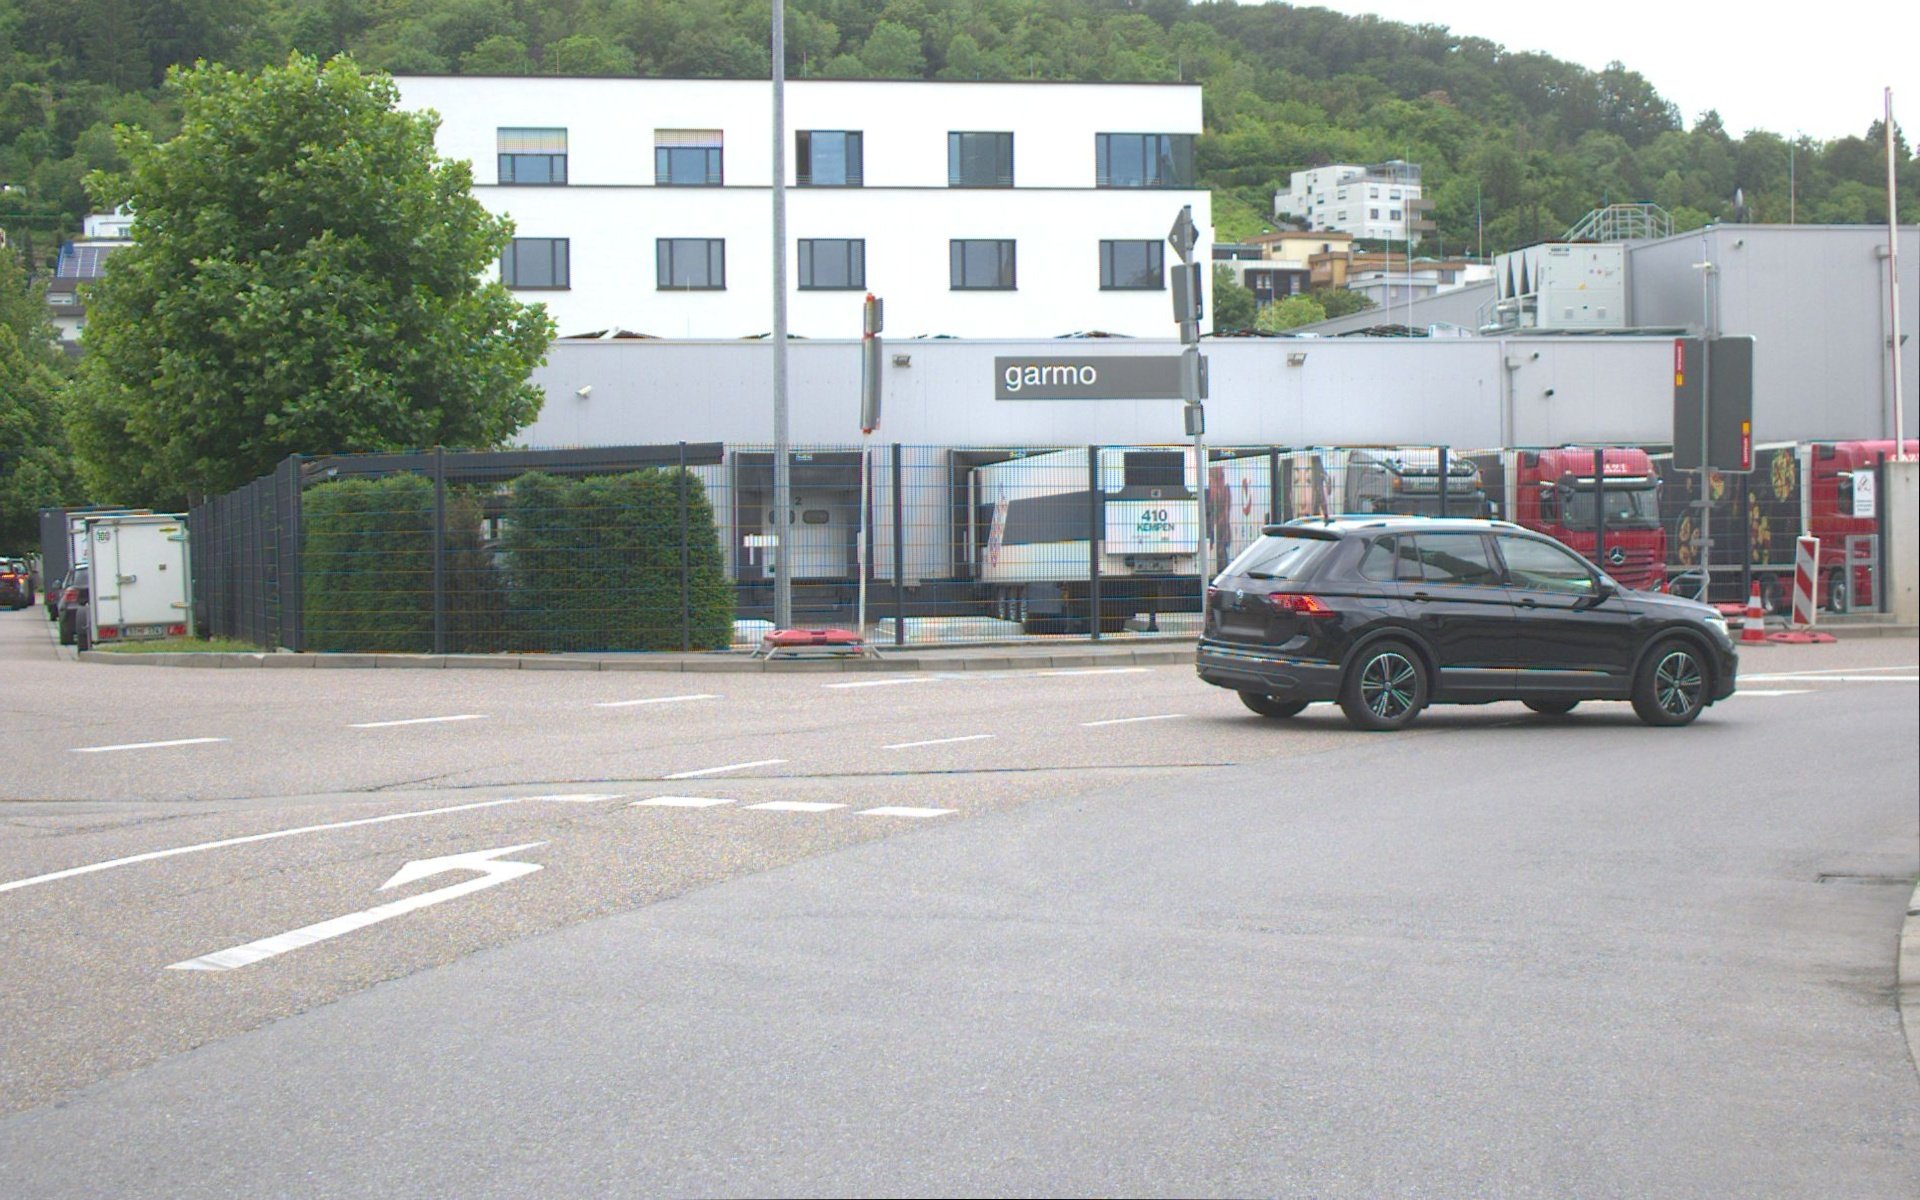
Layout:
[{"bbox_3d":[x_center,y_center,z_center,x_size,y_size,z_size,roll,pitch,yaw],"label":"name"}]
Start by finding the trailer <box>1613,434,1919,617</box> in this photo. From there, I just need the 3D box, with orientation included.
[{"bbox_3d":[19.004,-1.702,81.890,2.782,4.064,10.999,-1,0,-12],"label":"trailer"}]

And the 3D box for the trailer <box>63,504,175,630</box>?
[{"bbox_3d":[-16.120,-0.657,65.908,1.993,2.335,4.001,-1,1,-14],"label":"trailer"}]

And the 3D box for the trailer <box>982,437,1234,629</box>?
[{"bbox_3d":[3.212,-1.475,78.989,3.080,4.064,11.413,-1,0,-12],"label":"trailer"}]

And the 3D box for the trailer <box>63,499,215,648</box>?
[{"bbox_3d":[-11.601,-0.397,48.550,1.993,2.007,4.001,-1,1,-14],"label":"trailer"}]

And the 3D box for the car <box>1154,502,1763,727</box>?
[{"bbox_3d":[3.951,0.093,27.316,4.355,1.678,2.001,0,1,-22],"label":"car"}]

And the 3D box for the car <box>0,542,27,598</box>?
[{"bbox_3d":[-29.891,-0.911,105.845,1.993,1.678,4.001,-1,0,-11],"label":"car"}]

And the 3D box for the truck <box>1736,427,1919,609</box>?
[{"bbox_3d":[19.914,-1.794,76.898,2.792,3.915,5.927,-1,0,-11],"label":"truck"}]

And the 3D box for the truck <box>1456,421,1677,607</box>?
[{"bbox_3d":[13.222,-1.841,75.451,2.792,3.915,5.927,-1,0,-11],"label":"truck"}]

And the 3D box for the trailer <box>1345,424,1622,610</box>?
[{"bbox_3d":[12.145,-1.869,81.084,2.782,4.064,10.999,-1,0,-12],"label":"trailer"}]

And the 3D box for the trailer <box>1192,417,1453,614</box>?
[{"bbox_3d":[8.272,-1.880,80.382,2.782,4.286,11.185,-1,0,-12],"label":"trailer"}]

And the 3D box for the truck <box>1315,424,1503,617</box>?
[{"bbox_3d":[9.603,-1.682,73.822,2.792,4.026,4.166,-1,0,-11],"label":"truck"}]

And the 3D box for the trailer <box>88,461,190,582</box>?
[{"bbox_3d":[-26.114,-2.489,109.318,3.067,3.746,4.935,-1,1,-14],"label":"trailer"}]

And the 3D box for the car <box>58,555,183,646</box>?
[{"bbox_3d":[-14.810,-0.014,60.496,1.993,1.503,4.183,-1,1,-16],"label":"car"}]

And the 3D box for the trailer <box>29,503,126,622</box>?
[{"bbox_3d":[-22.289,-0.973,86.923,2.278,2.943,4.001,-1,1,-14],"label":"trailer"}]

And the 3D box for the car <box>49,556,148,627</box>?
[{"bbox_3d":[-19.177,-0.206,76.639,1.993,1.503,4.001,-1,1,-12],"label":"car"}]
